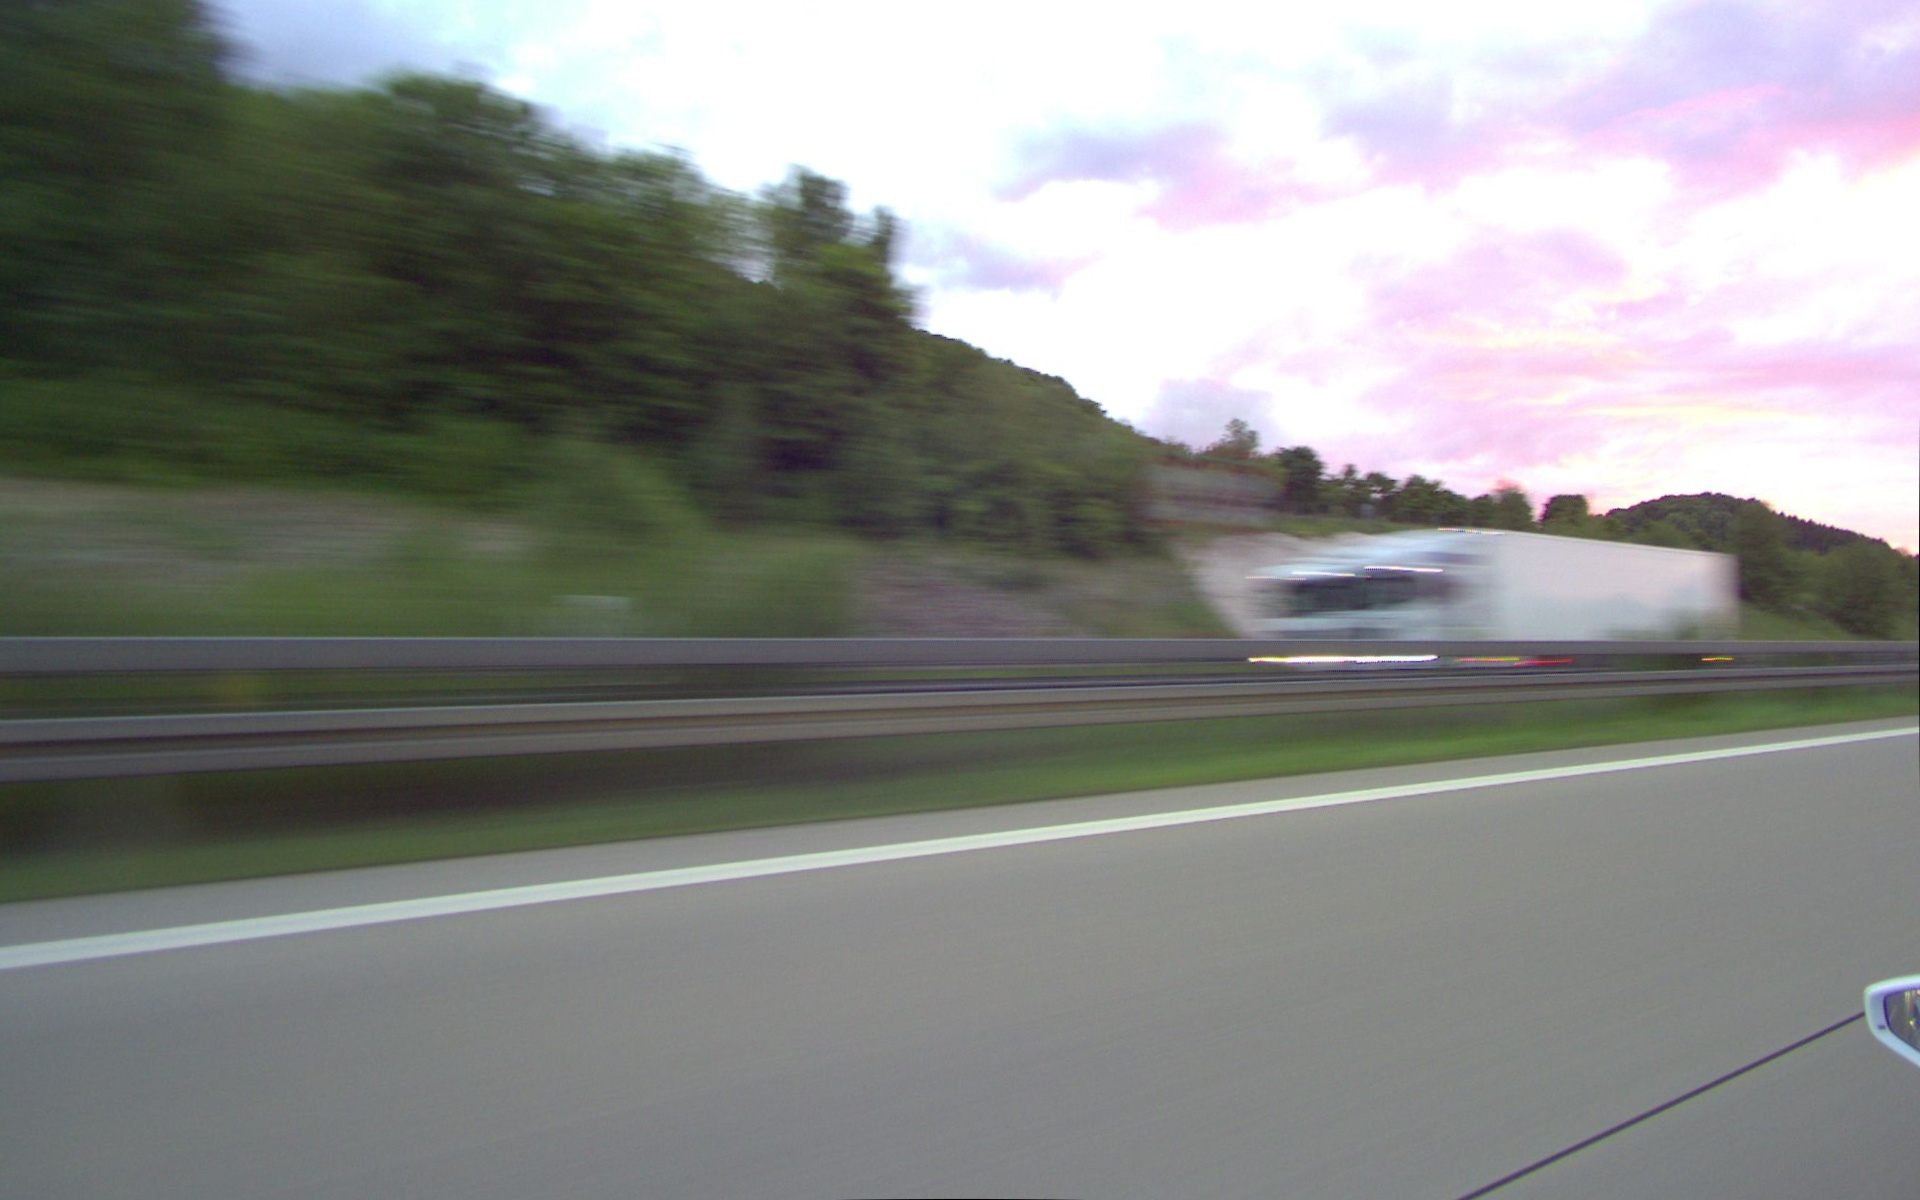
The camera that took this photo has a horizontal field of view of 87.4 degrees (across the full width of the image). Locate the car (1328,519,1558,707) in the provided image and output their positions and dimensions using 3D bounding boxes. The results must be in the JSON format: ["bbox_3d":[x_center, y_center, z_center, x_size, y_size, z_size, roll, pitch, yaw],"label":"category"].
[{"bbox_3d":[12.986,0.395,26.926,5.861,4.546,2.785,2,-1,-31],"label":"car"}]

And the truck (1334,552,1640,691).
[{"bbox_3d":[18.915,0.856,35.451,13.440,4.266,2.882,2,-1,-30],"label":"truck"}]

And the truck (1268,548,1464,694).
[{"bbox_3d":[12.963,0.713,32.029,5.794,4.266,2.844,2,-1,-30],"label":"truck"}]

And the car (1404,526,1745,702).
[{"bbox_3d":[19.109,0.545,30.572,13.750,4.546,2.785,2,-1,-31],"label":"car"}]
